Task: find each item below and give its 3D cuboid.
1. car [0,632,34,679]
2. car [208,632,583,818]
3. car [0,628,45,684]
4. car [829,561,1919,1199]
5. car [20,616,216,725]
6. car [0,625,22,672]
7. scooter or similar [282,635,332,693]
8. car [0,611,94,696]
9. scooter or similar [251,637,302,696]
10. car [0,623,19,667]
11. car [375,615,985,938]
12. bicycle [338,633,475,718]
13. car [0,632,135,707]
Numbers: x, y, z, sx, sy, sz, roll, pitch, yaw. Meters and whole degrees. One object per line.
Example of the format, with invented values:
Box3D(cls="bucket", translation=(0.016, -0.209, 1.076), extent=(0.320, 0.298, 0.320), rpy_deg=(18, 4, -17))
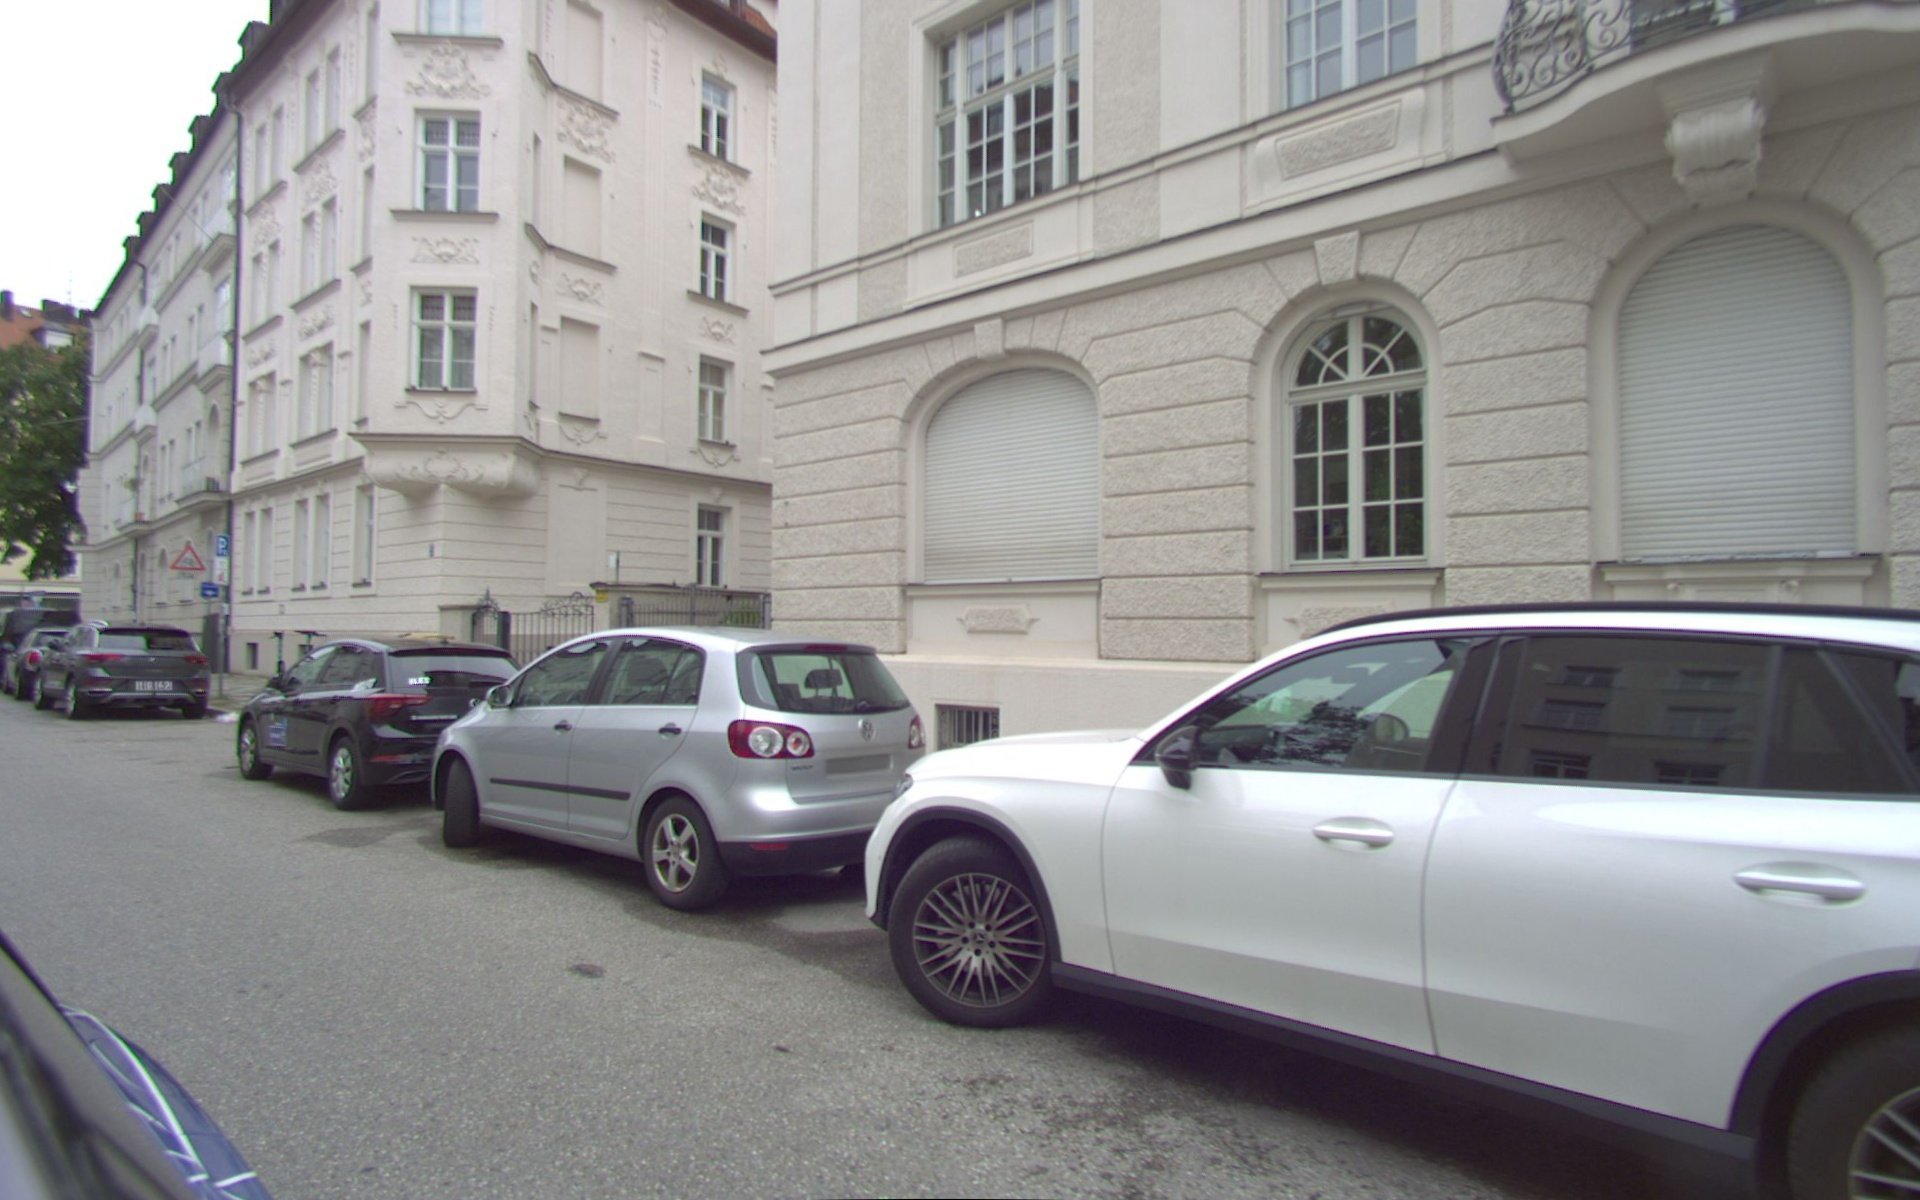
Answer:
Box3D(cls="car", translation=(-30.962, 1.743, 32.392), extent=(4.092, 1.418, 1.636), rpy_deg=(-2, -4, 44))
Box3D(cls="car", translation=(-5.664, 1.070, 9.929), extent=(4.275, 1.426, 1.774), rpy_deg=(-1, -5, 40))
Box3D(cls="car", translation=(-27.703, 1.588, 29.075), extent=(3.529, 1.525, 1.599), rpy_deg=(-2, -4, 41))
Box3D(cls="car", translation=(1.797, 0.788, 3.316), extent=(4.569, 1.631, 1.895), rpy_deg=(-2, -3, 41))
Box3D(cls="car", translation=(-14.319, 1.143, 17.137), extent=(4.117, 1.631, 1.709), rpy_deg=(-1, -4, 39))
Box3D(cls="car", translation=(-34.897, 1.705, 36.055), extent=(4.434, 1.612, 1.855), rpy_deg=(-2, -3, 44))
Box3D(cls="scooter or similar", translation=(-14.388, 1.399, 22.285), extent=(1.547, 1.231, 0.488), rpy_deg=(-2, -3, 41))
Box3D(cls="car", translation=(-22.874, 1.305, 24.708), extent=(4.760, 1.909, 1.817), rpy_deg=(-2, -5, 40))
Box3D(cls="scooter or similar", translation=(-14.701, 1.410, 21.754), extent=(1.547, 1.209, 0.526), rpy_deg=(-2, -3, 41))
Box3D(cls="car", translation=(-38.994, 1.796, 40.243), extent=(4.210, 1.690, 1.817), rpy_deg=(-2, -3, 41))
Box3D(cls="car", translation=(-2.073, 0.939, 6.912), extent=(4.250, 1.553, 1.766), rpy_deg=(-1, -4, 37))
Box3D(cls="bicycle", translation=(-9.394, 1.226, 17.122), extent=(2.715, 1.251, 1.140), rpy_deg=(-2, 1, 41))
Box3D(cls="car", translation=(-18.893, 1.415, 21.167), extent=(4.243, 1.405, 1.817), rpy_deg=(-2, -5, 42))
